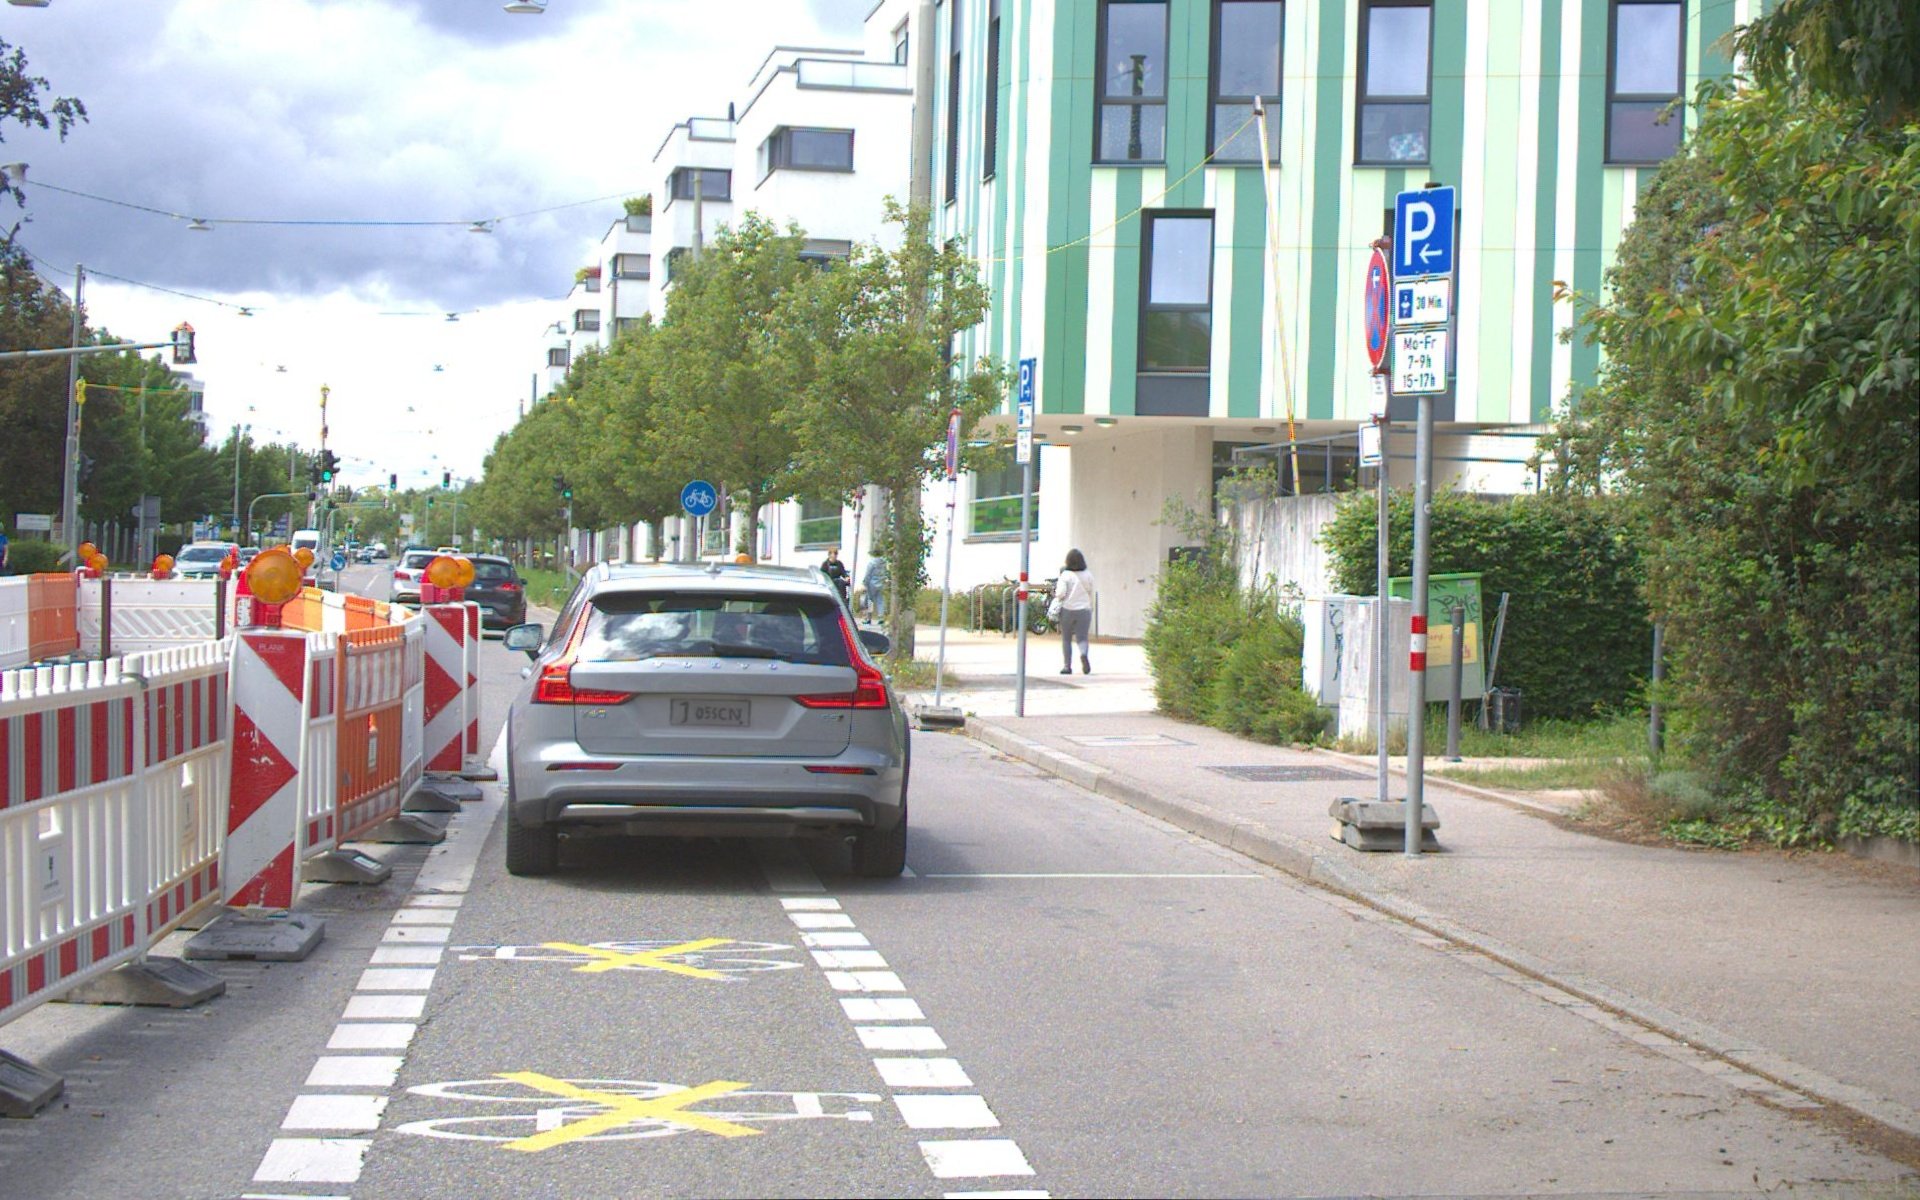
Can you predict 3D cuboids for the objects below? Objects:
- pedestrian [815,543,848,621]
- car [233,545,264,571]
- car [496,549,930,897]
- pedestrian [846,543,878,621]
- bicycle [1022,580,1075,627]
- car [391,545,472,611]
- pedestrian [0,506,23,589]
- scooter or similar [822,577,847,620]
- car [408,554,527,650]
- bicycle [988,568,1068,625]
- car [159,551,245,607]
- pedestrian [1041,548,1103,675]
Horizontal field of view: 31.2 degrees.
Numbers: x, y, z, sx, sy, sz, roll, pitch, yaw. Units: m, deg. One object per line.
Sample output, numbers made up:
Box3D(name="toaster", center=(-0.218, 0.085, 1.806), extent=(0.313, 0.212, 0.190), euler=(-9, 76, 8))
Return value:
Box3D(name="pedestrian", center=(-2.748, -0.391, 73.591), extent=(0.605, 1.649, 0.552), euler=(1, 1, -10))
Box3D(name="car", center=(-43.586, -2.585, 210.643), extent=(1.660, 1.510, 4.001), euler=(2, 1, -10))
Box3D(name="car", center=(-1.346, 0.518, 17.094), extent=(1.854, 1.508, 4.001), euler=(1, 1, -8))
Box3D(name="pedestrian", center=(-2.076, -0.381, 72.781), extent=(0.550, 1.649, 0.607), euler=(1, 1, -10))
Box3D(name="bicycle", center=(1.624, 0.065, 63.027), extent=(1.022, 0.839, 0.307), euler=(0, 1, -42))
Box3D(name="car", center=(-13.184, -0.567, 85.628), extent=(1.844, 1.508, 4.001), euler=(3, 1, -10))
Box3D(name="pedestrian", center=(-21.344, -1.175, 76.789), extent=(0.681, 1.848, 0.892), euler=(1, 0, -9))
Box3D(name="scooter or similar", center=(-2.667, -0.028, 73.098), extent=(0.421, 0.902, 0.682), euler=(1, 1, -10))
Box3D(name="car", center=(-8.620, 0.007, 59.899), extent=(1.854, 1.508, 4.001), euler=(3, 1, -10))
Box3D(name="bicycle", center=(1.261, -0.058, 64.060), extent=(1.464, 1.042, 0.307), euler=(1, 1, -21))
Box3D(name="car", center=(-21.110, -0.598, 95.835), extent=(1.854, 1.508, 4.001), euler=(1, 1, -5))
Box3D(name="pedestrian", center=(1.387, 0.136, 42.740), extent=(0.581, 1.546, 0.869), euler=(1, 1, -10))
